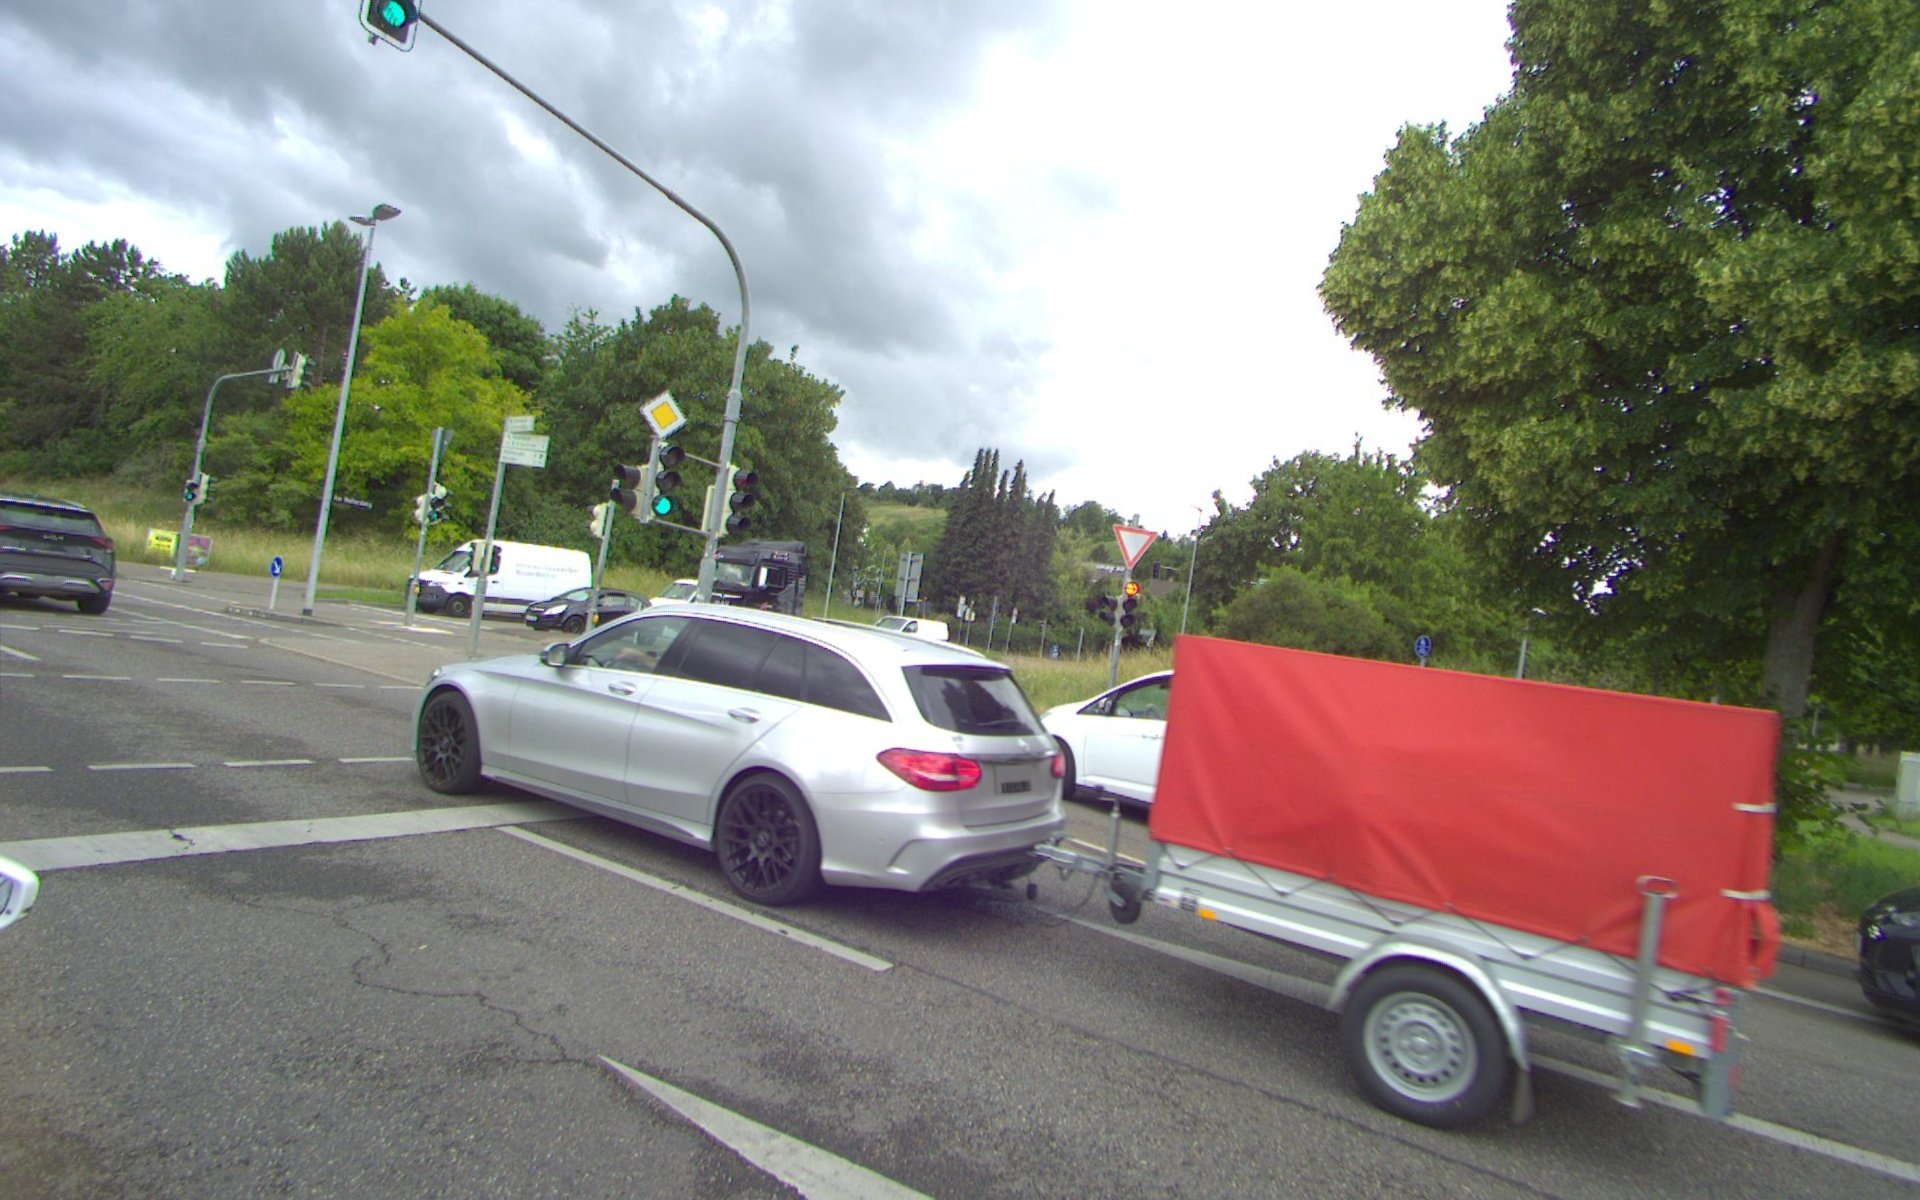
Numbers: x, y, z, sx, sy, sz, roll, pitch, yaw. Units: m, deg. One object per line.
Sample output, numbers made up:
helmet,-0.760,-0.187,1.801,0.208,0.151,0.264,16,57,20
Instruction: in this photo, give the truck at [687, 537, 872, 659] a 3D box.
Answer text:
truck,-6.194,0.027,35.398,2.648,3.527,6.004,6,-1,34

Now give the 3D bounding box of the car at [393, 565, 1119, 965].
car,-1.419,0.777,6.350,4.328,1.467,1.774,6,-2,32

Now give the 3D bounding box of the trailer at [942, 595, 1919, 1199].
trailer,2.130,1.077,4.105,3.931,1.678,1.774,6,-2,32

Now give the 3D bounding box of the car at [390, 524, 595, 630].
car,-15.374,-0.670,33.502,1.968,2.660,5.814,6,-2,34

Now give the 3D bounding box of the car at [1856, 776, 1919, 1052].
car,7.211,2.027,5.280,3.511,1.521,1.605,6,-5,38

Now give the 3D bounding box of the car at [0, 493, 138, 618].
car,-14.333,-0.776,15.037,4.149,1.547,1.797,6,-2,32

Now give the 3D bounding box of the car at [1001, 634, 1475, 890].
car,2.572,1.465,10.283,1.751,1.674,4.324,9,-2,-38

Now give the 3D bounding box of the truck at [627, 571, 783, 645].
truck,-10.272,0.388,41.093,2.128,2.255,6.028,6,-2,35

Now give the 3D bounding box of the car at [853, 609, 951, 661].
car,-2.662,1.689,47.433,1.967,1.927,4.955,6,-2,32

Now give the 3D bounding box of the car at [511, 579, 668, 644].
car,-10.557,0.377,28.904,1.669,1.353,3.882,6,-3,34
